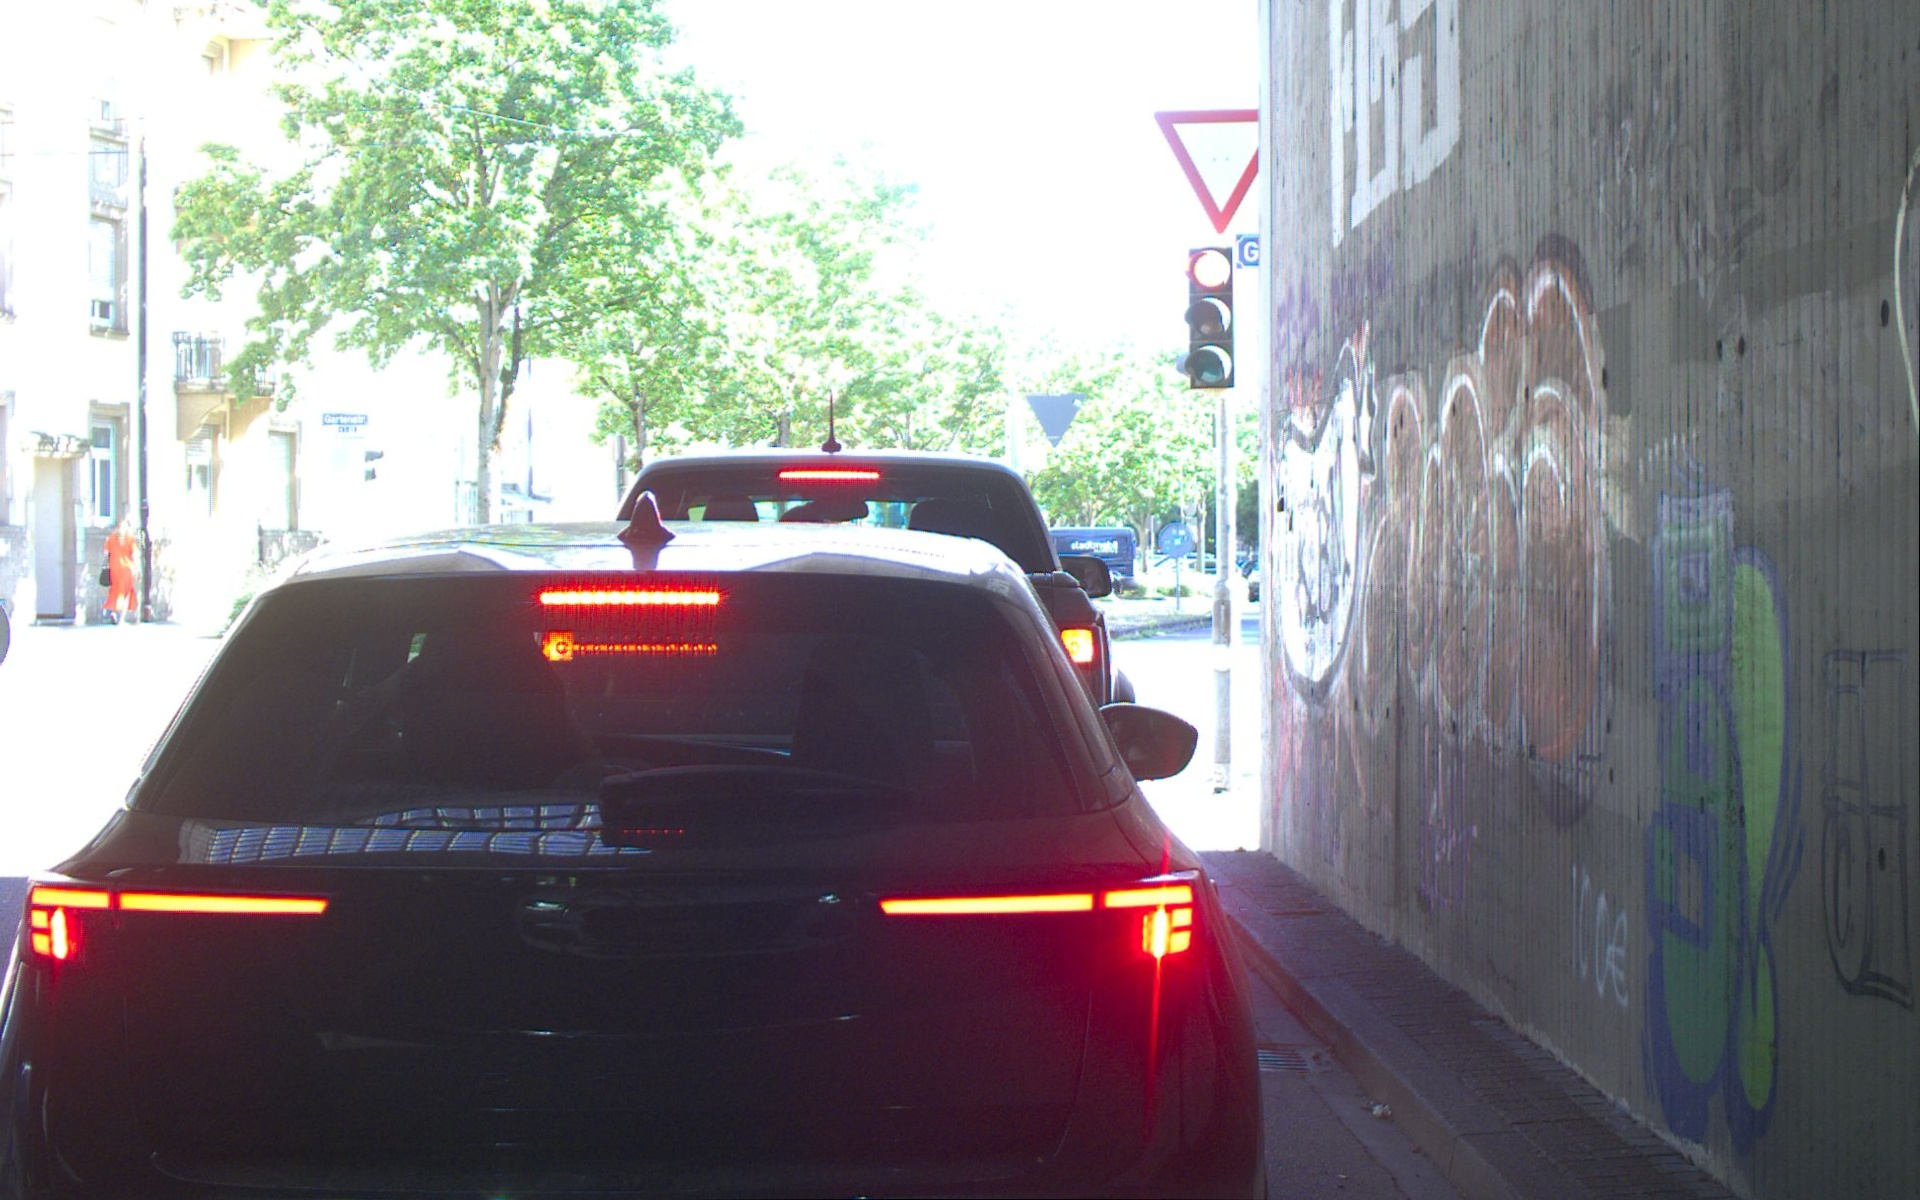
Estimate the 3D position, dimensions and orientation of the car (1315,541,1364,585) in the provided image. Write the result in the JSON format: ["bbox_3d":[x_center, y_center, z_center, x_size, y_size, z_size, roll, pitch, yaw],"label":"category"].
[{"bbox_3d":[14.360,-1.418,129.966,1.584,1.634,3.804,0,1,10],"label":"car"}]

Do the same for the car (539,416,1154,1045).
[{"bbox_3d":[-0.349,0.347,12.079,1.786,1.827,3.961,1,1,0],"label":"car"}]

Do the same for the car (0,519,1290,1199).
[{"bbox_3d":[-0.500,0.621,6.159,1.753,1.493,4.000,1,1,0],"label":"car"}]

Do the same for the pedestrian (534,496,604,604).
[{"bbox_3d":[-5.850,-0.746,51.416,0.736,1.579,0.889,1,0,15],"label":"pedestrian"}]

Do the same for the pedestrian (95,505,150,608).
[{"bbox_3d":[-13.905,-0.722,57.098,0.623,1.699,0.723,1,0,10],"label":"pedestrian"}]

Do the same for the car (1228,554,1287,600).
[{"bbox_3d":[9.672,-0.747,111.570,1.599,1.447,3.794,0,1,10],"label":"car"}]

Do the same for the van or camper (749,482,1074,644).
[{"bbox_3d":[-0.577,-0.474,43.619,3.878,2.007,2.000,0,1,7],"label":"van or camper"}]

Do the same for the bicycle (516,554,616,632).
[{"bbox_3d":[-5.876,-0.113,51.341,0.737,1.126,2.025,0,1,17],"label":"bicycle"}]
